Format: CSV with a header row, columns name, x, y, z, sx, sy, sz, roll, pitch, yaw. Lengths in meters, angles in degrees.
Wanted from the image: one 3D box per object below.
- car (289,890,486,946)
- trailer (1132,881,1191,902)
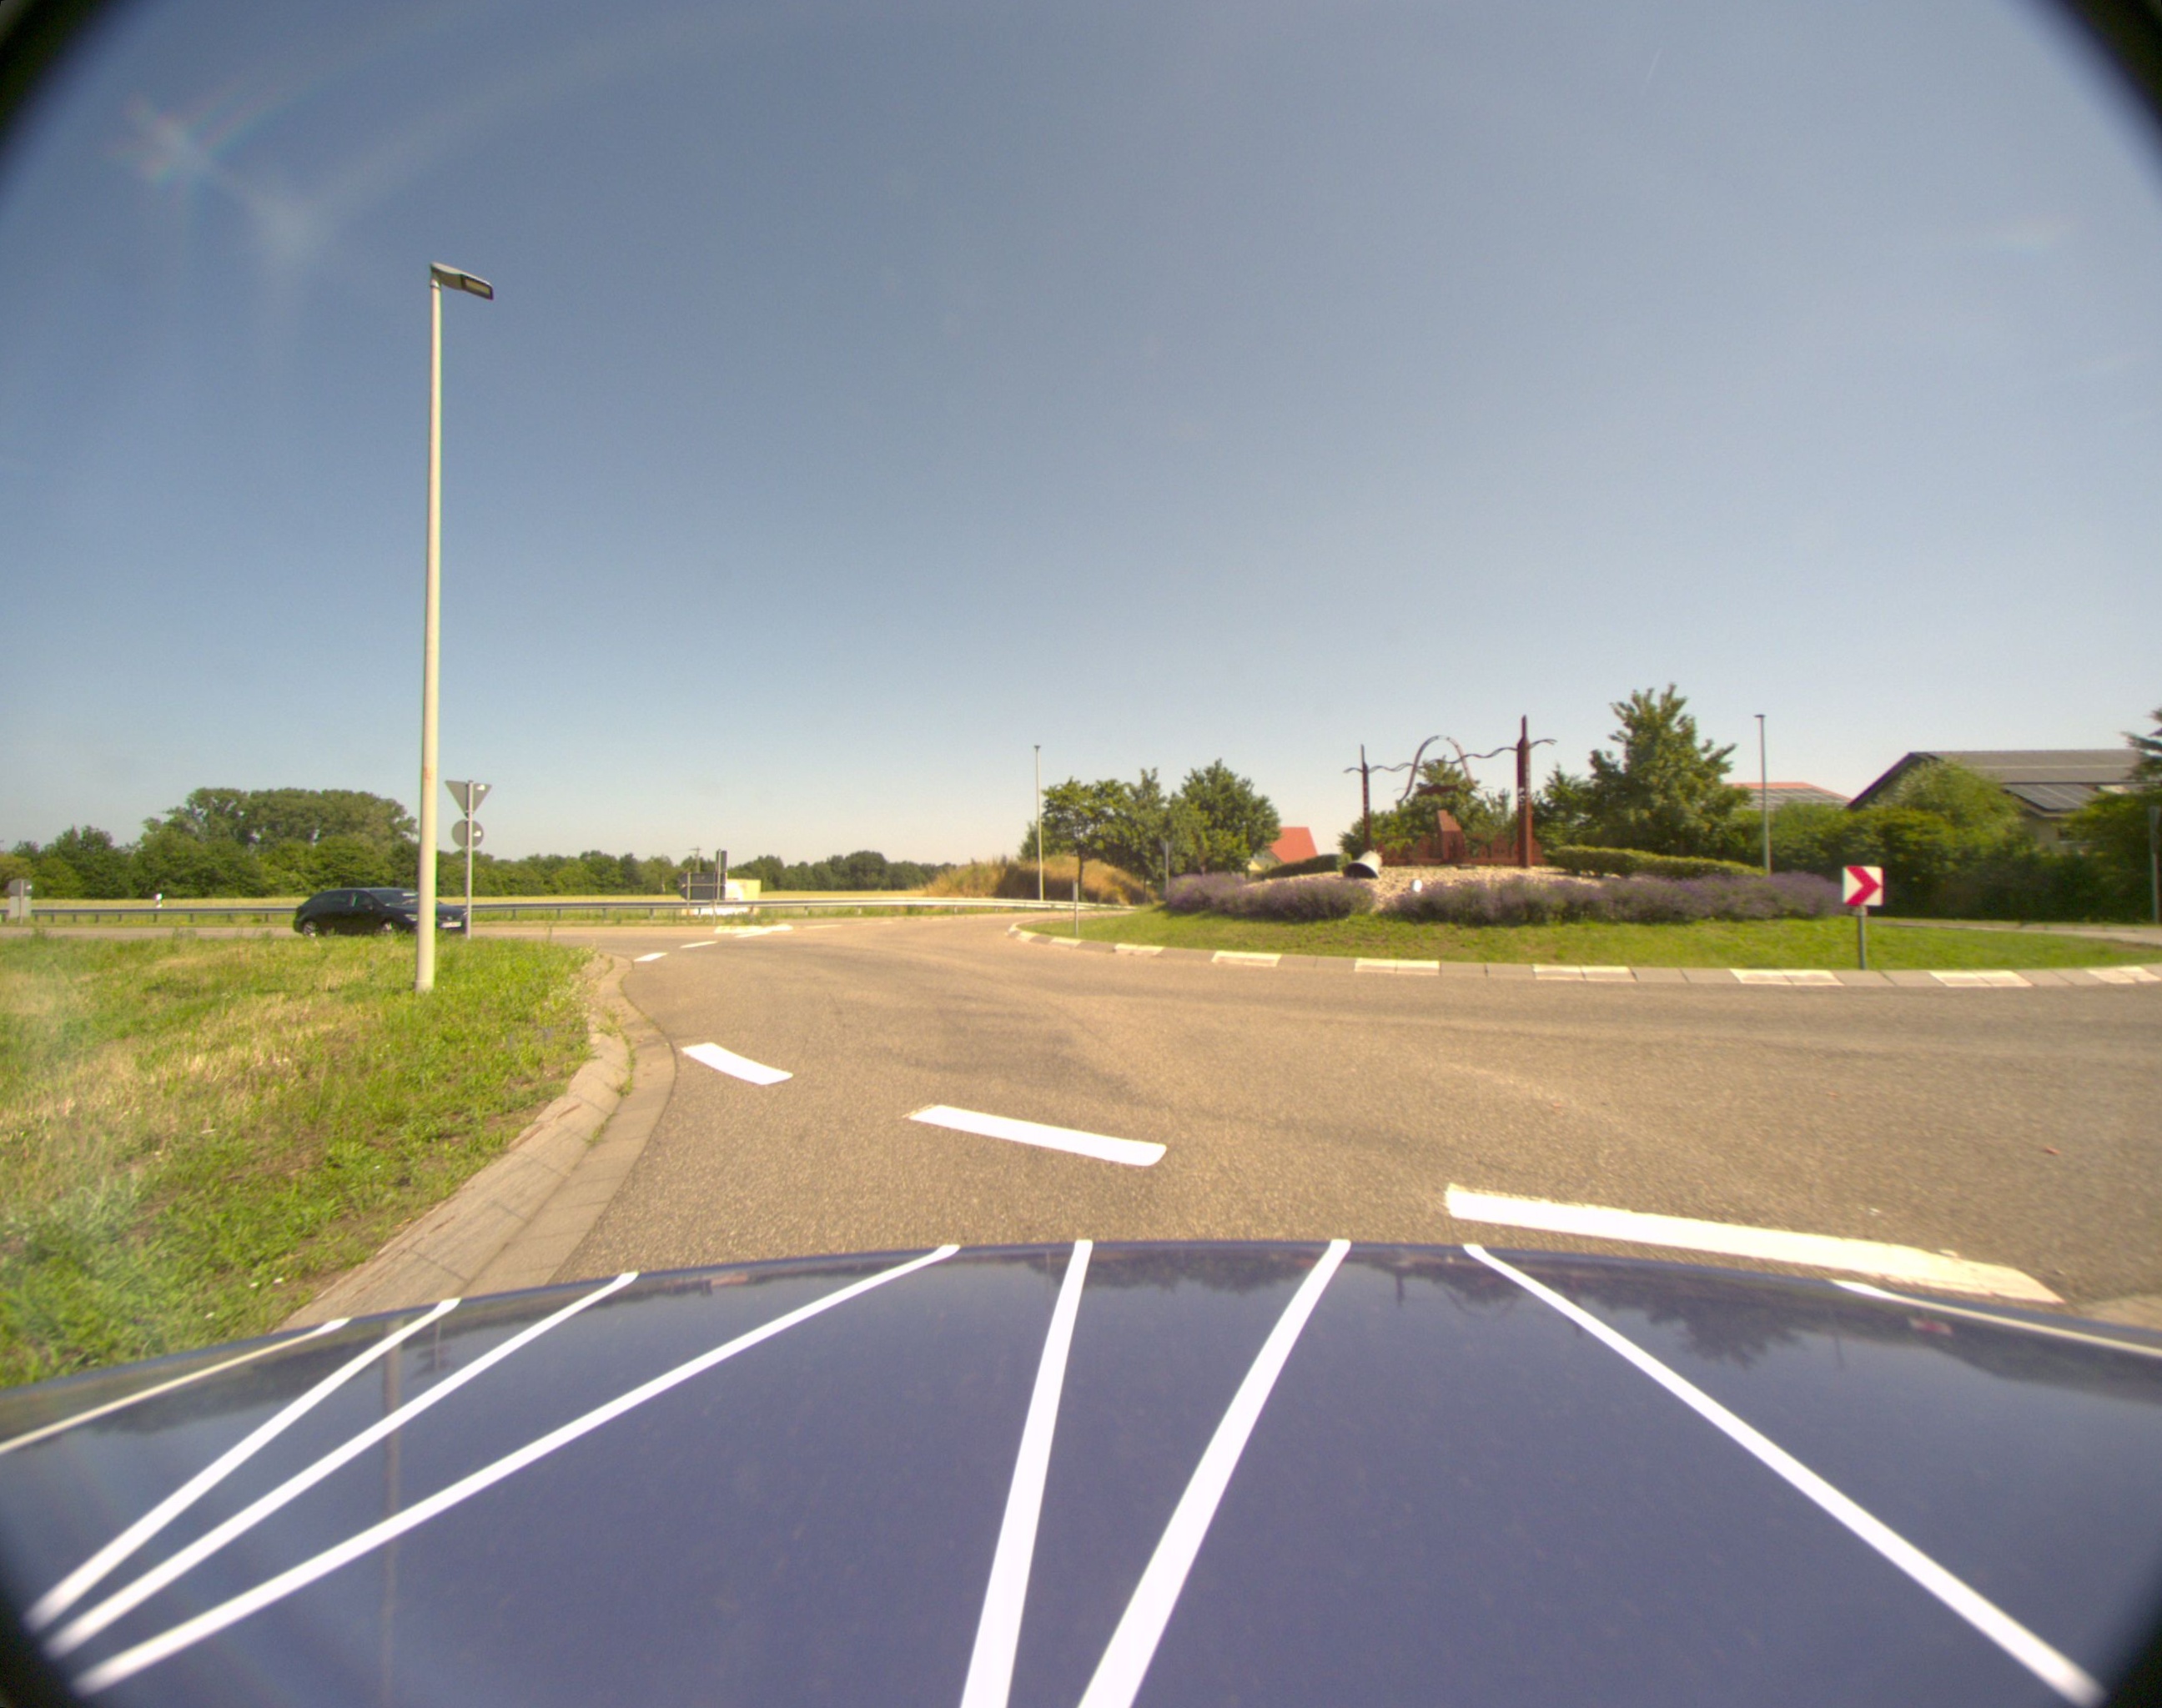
name,x,y,z,sx,sy,sz,roll,pitch,yaw
car,-18.769,1.703,20.638,4.173,1.389,1.810,-1,-1,11
trailer,9.638,4.484,92.730,2.003,2.264,10.471,0,-1,-25
